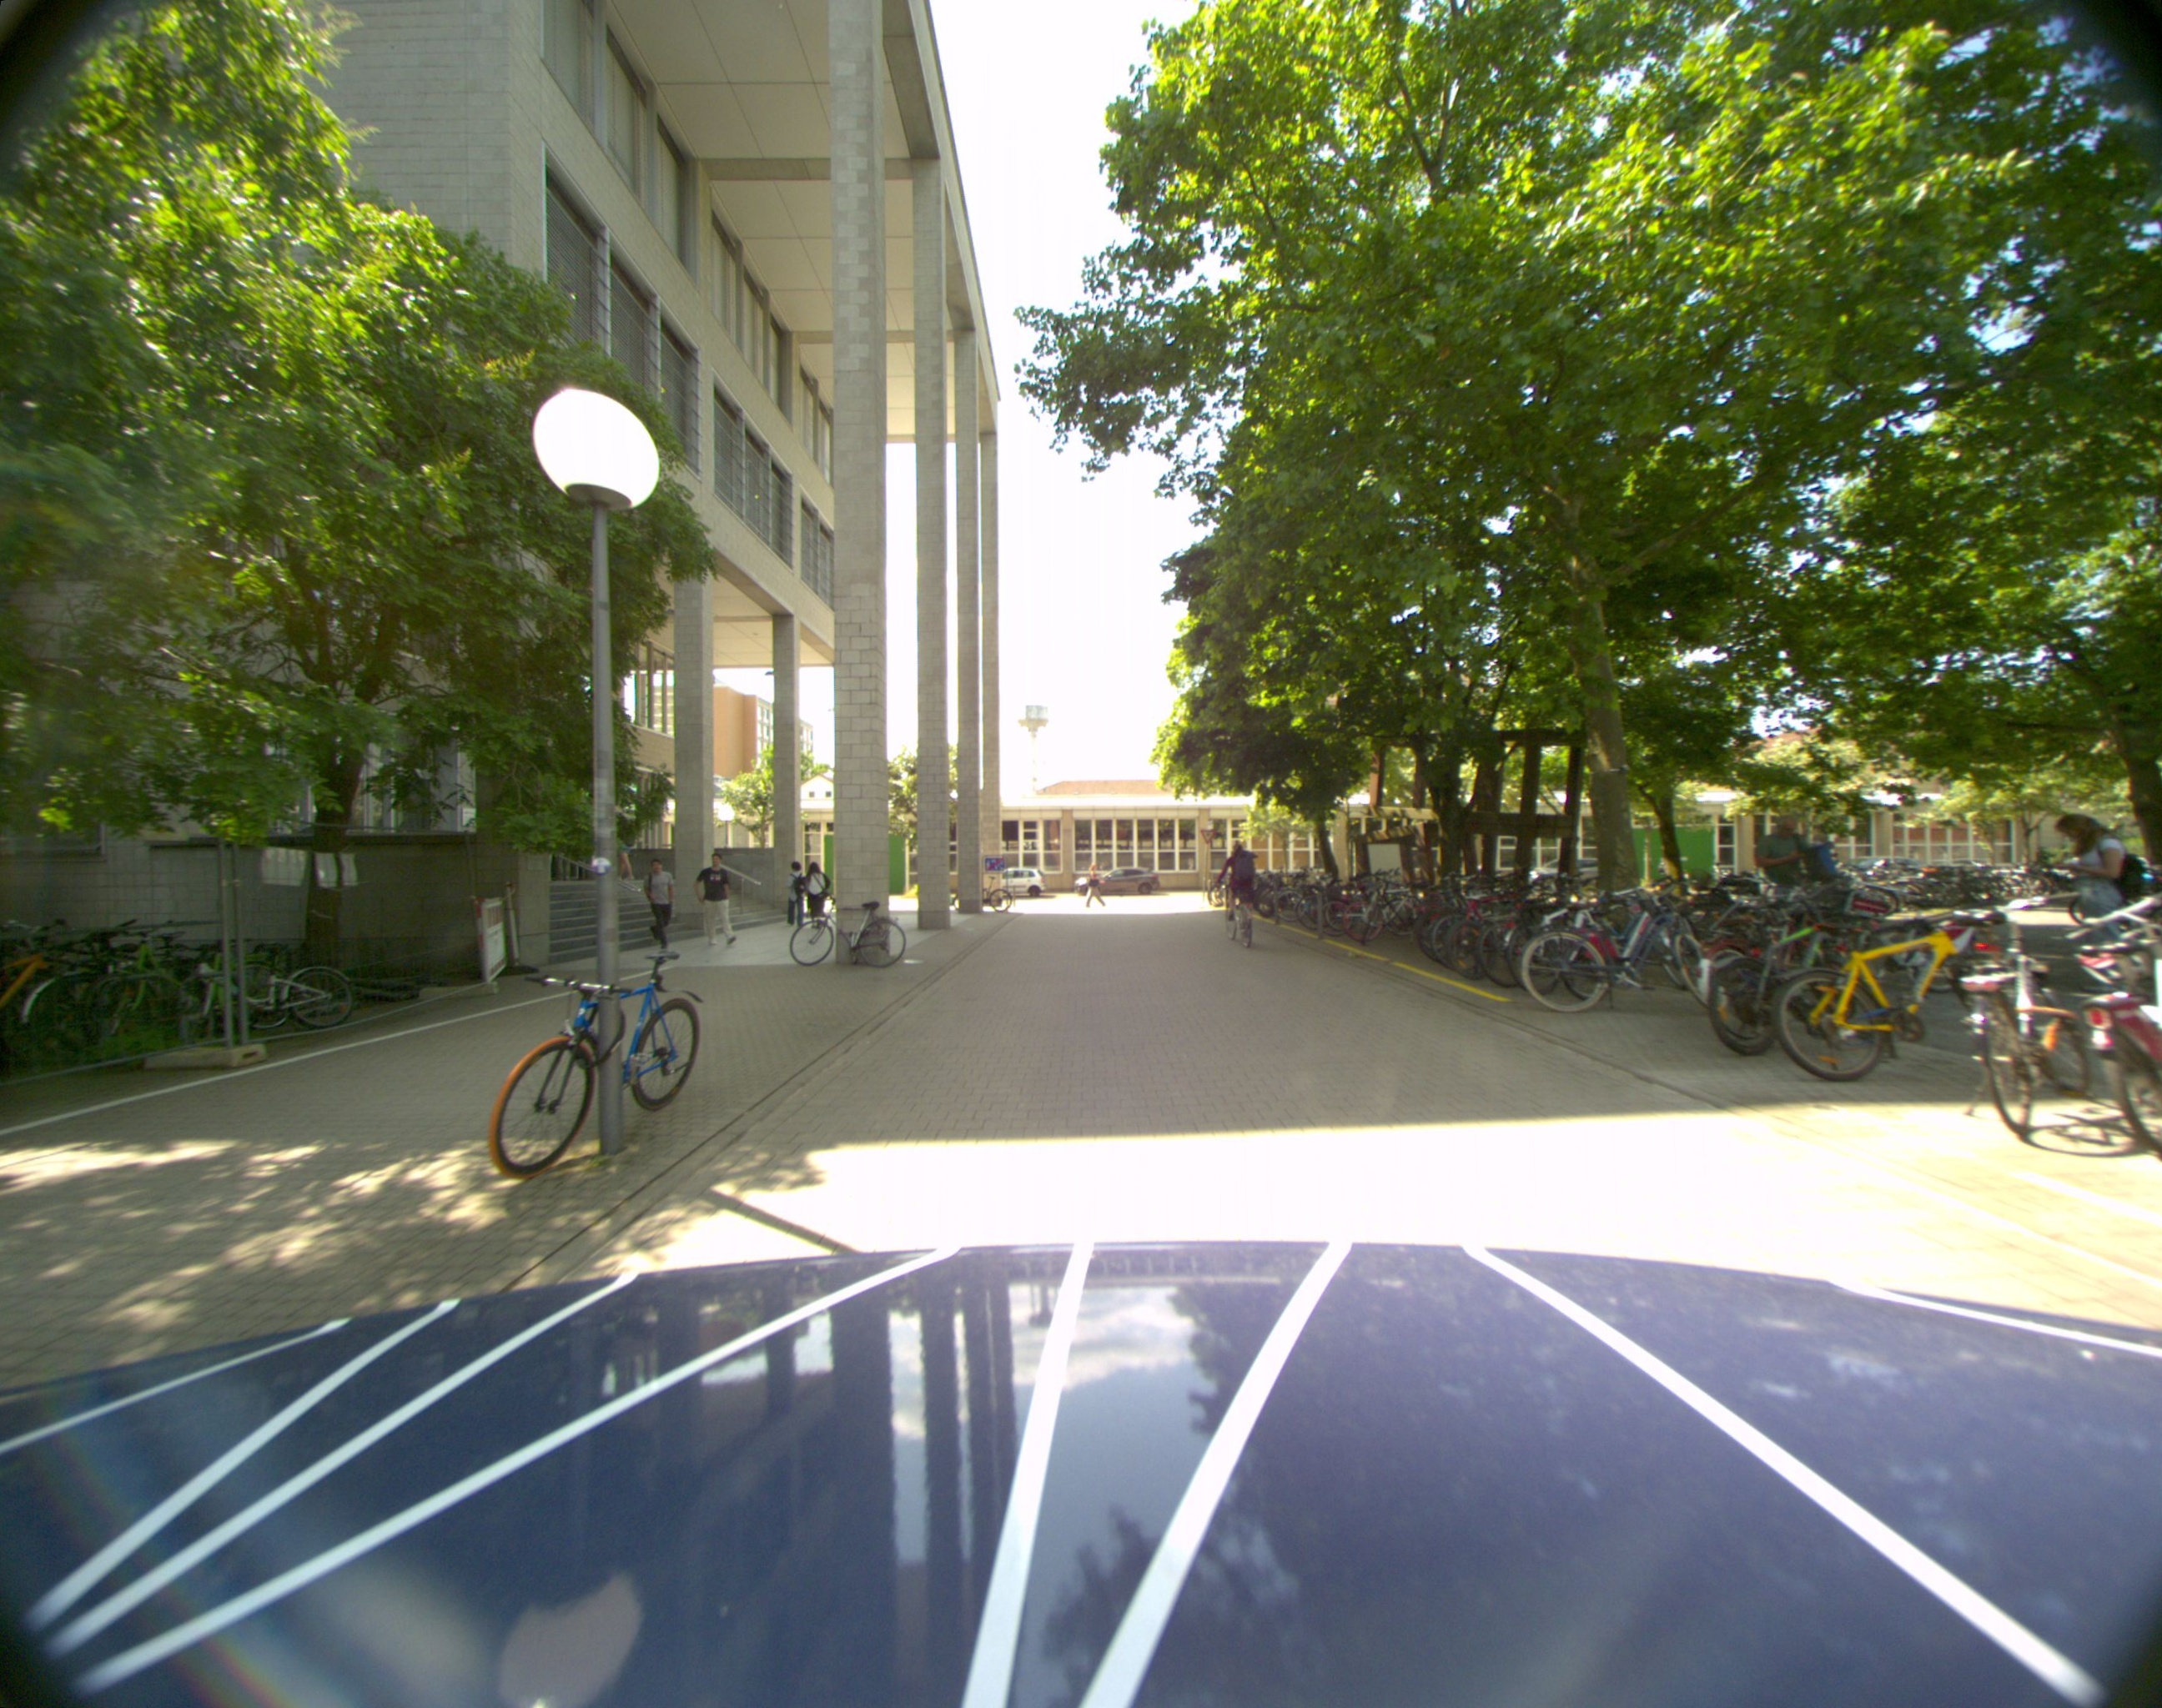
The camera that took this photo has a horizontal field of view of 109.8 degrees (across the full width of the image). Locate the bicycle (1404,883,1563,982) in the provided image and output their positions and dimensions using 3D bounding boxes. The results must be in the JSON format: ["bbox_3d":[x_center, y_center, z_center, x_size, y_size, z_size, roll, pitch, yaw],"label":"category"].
[{"bbox_3d":[5.094,0.981,9.673,1.739,1.171,0.497,-2,0,0],"label":"bicycle"}]

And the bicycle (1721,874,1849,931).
[{"bbox_3d":[14.725,0.981,15.947,0.504,1.101,1.902,-2,0,-37],"label":"bicycle"}]

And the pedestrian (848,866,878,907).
[{"bbox_3d":[-8.654,1.277,30.214,0.822,1.565,0.878,0,-1,-44],"label":"pedestrian"}]

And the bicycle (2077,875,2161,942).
[{"bbox_3d":[17.979,0.894,12.541,0.475,1.077,1.854,-2,0,-37],"label":"bicycle"}]

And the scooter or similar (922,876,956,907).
[{"bbox_3d":[-5.254,1.389,28.196,1.157,1.144,0.444,-1,-1,5],"label":"scooter or similar"}]

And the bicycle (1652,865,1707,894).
[{"bbox_3d":[26.339,1.116,33.450,1.885,1.134,0.674,-3,2,-2],"label":"bicycle"}]

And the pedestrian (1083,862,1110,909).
[{"bbox_3d":[0.540,1.100,26.739,0.882,1.645,0.703,-1,-1,-2],"label":"pedestrian"}]

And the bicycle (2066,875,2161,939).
[{"bbox_3d":[18.470,0.908,13.073,0.475,1.077,1.854,-2,0,-37],"label":"bicycle"}]

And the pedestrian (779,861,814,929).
[{"bbox_3d":[-7.305,1.044,19.491,0.676,1.660,0.897,-4,1,-25],"label":"pedestrian"}]

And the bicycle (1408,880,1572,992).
[{"bbox_3d":[4.893,0.963,9.113,1.740,1.228,0.497,-2,0,-7],"label":"bicycle"}]

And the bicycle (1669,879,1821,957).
[{"bbox_3d":[10.032,0.940,11.555,1.695,1.101,0.504,-1,0,36],"label":"bicycle"}]

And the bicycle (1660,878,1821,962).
[{"bbox_3d":[9.398,0.912,10.905,1.695,1.101,0.504,-1,0,36],"label":"bicycle"}]

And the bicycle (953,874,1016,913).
[{"bbox_3d":[-2.963,1.223,23.560,1.886,1.157,0.605,1,-1,-4],"label":"bicycle"}]

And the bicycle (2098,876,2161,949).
[{"bbox_3d":[16.650,0.886,11.373,0.475,1.077,1.695,-2,0,-37],"label":"bicycle"}]

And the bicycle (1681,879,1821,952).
[{"bbox_3d":[10.980,0.977,12.513,1.695,1.101,0.504,-1,0,40],"label":"bicycle"}]

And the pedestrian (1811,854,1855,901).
[{"bbox_3d":[27.316,0.862,27.610,0.874,1.674,0.728,-1,-1,-3],"label":"pedestrian"}]

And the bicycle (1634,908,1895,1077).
[{"bbox_3d":[5.241,1.021,5.846,1.700,1.101,0.565,-2,0,-11],"label":"bicycle"}]

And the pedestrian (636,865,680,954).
[{"bbox_3d":[-8.100,1.040,14.575,0.704,1.645,0.881,0,-1,-28],"label":"pedestrian"}]

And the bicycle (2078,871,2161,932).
[{"bbox_3d":[19.662,0.864,13.811,0.475,1.077,1.854,-2,0,-37],"label":"bicycle"}]

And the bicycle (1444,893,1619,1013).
[{"bbox_3d":[4.801,1.024,8.110,1.700,1.139,0.473,-2,0,-11],"label":"bicycle"}]

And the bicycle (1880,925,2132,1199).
[{"bbox_3d":[4.944,0.999,4.036,1.702,1.101,0.473,-2,0,-27],"label":"bicycle"}]

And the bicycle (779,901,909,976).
[{"bbox_3d":[-3.422,1.211,11.057,1.743,1.033,0.449,0,-1,-4],"label":"bicycle"}]

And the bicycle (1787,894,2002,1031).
[{"bbox_3d":[7.437,0.961,6.960,1.700,1.101,0.502,-2,0,-11],"label":"bicycle"}]

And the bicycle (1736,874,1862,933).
[{"bbox_3d":[14.461,0.960,15.348,0.504,1.101,1.775,-2,0,-37],"label":"bicycle"}]

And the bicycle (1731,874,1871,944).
[{"bbox_3d":[12.202,0.906,12.952,1.695,1.101,0.633,-1,0,40],"label":"bicycle"}]

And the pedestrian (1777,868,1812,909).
[{"bbox_3d":[27.355,1.323,29.135,0.840,1.511,0.570,-1,0,-8],"label":"pedestrian"}]

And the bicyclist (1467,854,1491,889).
[{"bbox_3d":[17.335,0.759,33.103,0.727,1.526,0.605,0,2,2],"label":"bicyclist"}]

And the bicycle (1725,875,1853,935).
[{"bbox_3d":[13.868,0.968,14.929,0.504,1.101,1.775,-2,0,-37],"label":"bicycle"}]

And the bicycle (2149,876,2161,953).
[{"bbox_3d":[16.034,0.849,10.353,0.475,1.077,1.695,-2,0,-37],"label":"bicycle"}]

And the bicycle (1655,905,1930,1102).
[{"bbox_3d":[4.946,0.990,5.296,1.700,1.180,0.474,-2,0,-11],"label":"bicycle"}]

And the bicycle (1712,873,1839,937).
[{"bbox_3d":[12.785,0.913,14.054,1.695,1.101,0.504,-1,0,40],"label":"bicycle"}]

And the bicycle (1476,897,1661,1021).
[{"bbox_3d":[4.900,1.025,7.652,1.700,1.101,0.473,-2,0,-11],"label":"bicycle"}]

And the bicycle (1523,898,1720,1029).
[{"bbox_3d":[5.168,1.019,7.277,1.700,1.101,0.474,-2,0,-11],"label":"bicycle"}]

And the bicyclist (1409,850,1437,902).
[{"bbox_3d":[12.850,0.824,28.592,0.866,1.882,0.806,0,5,18],"label":"bicyclist"}]

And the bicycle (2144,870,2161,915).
[{"bbox_3d":[26.319,0.907,17.665,0.475,1.077,1.854,-2,0,-37],"label":"bicycle"}]

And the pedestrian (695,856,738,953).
[{"bbox_3d":[-7.045,0.943,14.661,0.704,1.792,0.881,0,-1,-28],"label":"pedestrian"}]

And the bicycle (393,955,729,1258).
[{"bbox_3d":[-2.620,1.189,4.130,0.538,1.033,1.858,0,0,0],"label":"bicycle"}]

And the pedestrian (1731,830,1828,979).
[{"bbox_3d":[8.895,0.607,9.677,0.771,1.796,0.708,-1,0,-32],"label":"pedestrian"}]

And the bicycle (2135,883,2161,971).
[{"bbox_3d":[14.112,0.906,9.113,0.475,1.077,1.695,-2,0,-37],"label":"bicycle"}]

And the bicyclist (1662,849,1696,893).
[{"bbox_3d":[26.312,0.752,33.438,0.969,1.877,0.674,-3,2,-2],"label":"bicyclist"}]

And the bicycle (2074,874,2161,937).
[{"bbox_3d":[19.214,0.912,13.527,0.475,1.077,1.854,-2,0,-37],"label":"bicycle"}]

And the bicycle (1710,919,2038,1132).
[{"bbox_3d":[4.951,1.016,4.768,1.700,1.101,0.582,-2,0,-11],"label":"bicycle"}]

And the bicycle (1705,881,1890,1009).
[{"bbox_3d":[7.548,0.923,8.017,1.700,1.213,0.502,-2,0,-11],"label":"bicycle"}]

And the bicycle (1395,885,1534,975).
[{"bbox_3d":[5.223,1.016,10.363,1.741,1.101,0.496,-2,0,-12],"label":"bicycle"}]

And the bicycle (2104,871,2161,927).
[{"bbox_3d":[21.483,0.876,14.795,0.475,1.077,1.854,-2,0,-37],"label":"bicycle"}]

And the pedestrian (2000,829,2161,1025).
[{"bbox_3d":[9.382,0.637,7.052,0.904,1.693,0.771,-1,0,37],"label":"pedestrian"}]

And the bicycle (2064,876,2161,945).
[{"bbox_3d":[17.451,0.910,12.313,0.475,1.077,1.854,-2,0,-37],"label":"bicycle"}]

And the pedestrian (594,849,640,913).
[{"bbox_3d":[-12.588,0.733,20.633,0.865,1.714,0.644,-1,-1,0],"label":"pedestrian"}]

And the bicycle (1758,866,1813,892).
[{"bbox_3d":[30.330,1.067,32.730,1.818,1.102,0.640,0,1,-3],"label":"bicycle"}]

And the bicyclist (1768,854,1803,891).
[{"bbox_3d":[30.323,0.794,32.717,0.874,1.564,0.640,0,1,-3],"label":"bicyclist"}]

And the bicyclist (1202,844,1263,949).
[{"bbox_3d":[2.567,0.697,12.942,0.773,1.706,0.911,-2,0,-2],"label":"bicyclist"}]

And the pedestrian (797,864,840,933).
[{"bbox_3d":[-6.308,1.053,18.275,0.809,1.608,0.739,0,0,-34],"label":"pedestrian"}]

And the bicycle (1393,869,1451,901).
[{"bbox_3d":[12.839,1.174,28.640,1.882,1.165,0.806,-1,0,17],"label":"bicycle"}]

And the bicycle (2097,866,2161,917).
[{"bbox_3d":[23.303,0.808,16.259,0.475,1.077,1.854,-2,0,-37],"label":"bicycle"}]

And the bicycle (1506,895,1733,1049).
[{"bbox_3d":[4.714,1.000,6.680,1.699,1.191,0.536,-2,0,-8],"label":"bicycle"}]

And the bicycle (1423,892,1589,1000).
[{"bbox_3d":[4.823,1.019,8.635,1.700,1.101,0.496,-2,0,-10],"label":"bicycle"}]

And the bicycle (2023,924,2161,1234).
[{"bbox_3d":[5.155,0.977,3.622,1.702,1.150,0.473,-2,0,-27],"label":"bicycle"}]

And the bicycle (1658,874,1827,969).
[{"bbox_3d":[8.998,0.892,10.428,1.695,1.192,0.577,-1,0,36],"label":"bicycle"}]

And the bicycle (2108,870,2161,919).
[{"bbox_3d":[24.441,0.894,16.916,0.475,1.077,1.854,-2,0,-37],"label":"bicycle"}]

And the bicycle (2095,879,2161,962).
[{"bbox_3d":[14.690,0.881,9.938,0.475,1.077,1.695,-2,0,-37],"label":"bicycle"}]
